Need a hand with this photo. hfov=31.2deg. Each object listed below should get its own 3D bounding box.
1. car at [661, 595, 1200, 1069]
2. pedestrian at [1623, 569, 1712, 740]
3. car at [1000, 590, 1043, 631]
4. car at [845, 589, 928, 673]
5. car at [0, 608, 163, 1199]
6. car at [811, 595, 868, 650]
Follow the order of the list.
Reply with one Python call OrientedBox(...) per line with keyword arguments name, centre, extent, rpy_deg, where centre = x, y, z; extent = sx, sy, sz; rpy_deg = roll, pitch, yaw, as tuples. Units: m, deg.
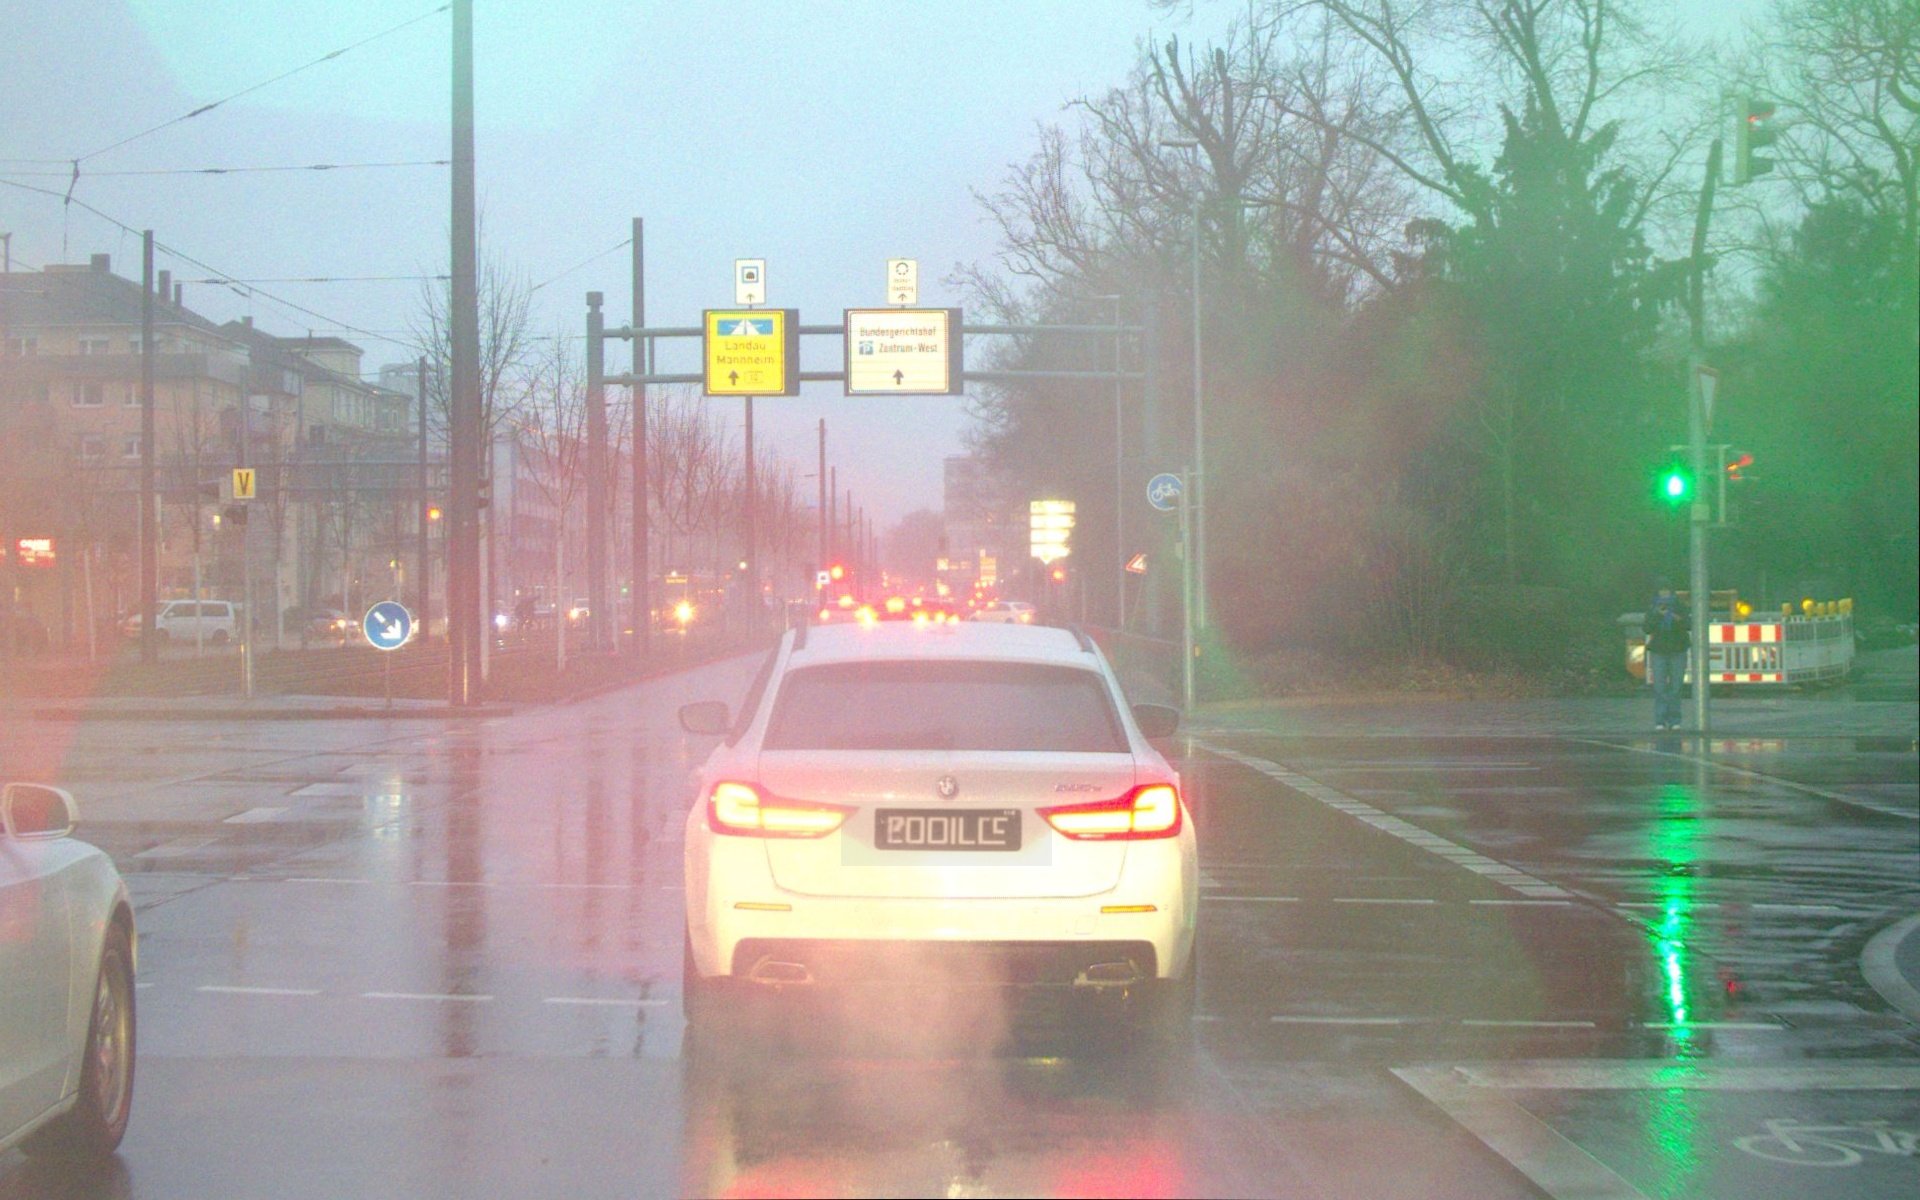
OrientedBox(name="car", centre=(-0.241, 0.774, 13.474), extent=(1.759, 1.547, 4.252), rpy_deg=(1, 0, -4))
OrientedBox(name="pedestrian", centre=(7.858, 0.604, 38.202), extent=(0.673, 1.873, 0.715), rpy_deg=(1, 0, -17))
OrientedBox(name="car", centre=(3.048, 0.513, 171.891), extent=(1.993, 2.007, 4.000), rpy_deg=(1, 0, -1))
OrientedBox(name="car", centre=(-1.799, 0.750, 85.454), extent=(1.993, 2.007, 4.000), rpy_deg=(1, 0, -1))
OrientedBox(name="car", centre=(-3.009, 0.742, 7.389), extent=(1.759, 1.465, 4.252), rpy_deg=(1, 0, -3))
OrientedBox(name="car", centre=(-4.454, 0.829, 127.875), extent=(1.993, 2.007, 4.000), rpy_deg=(1, 0, -1))
